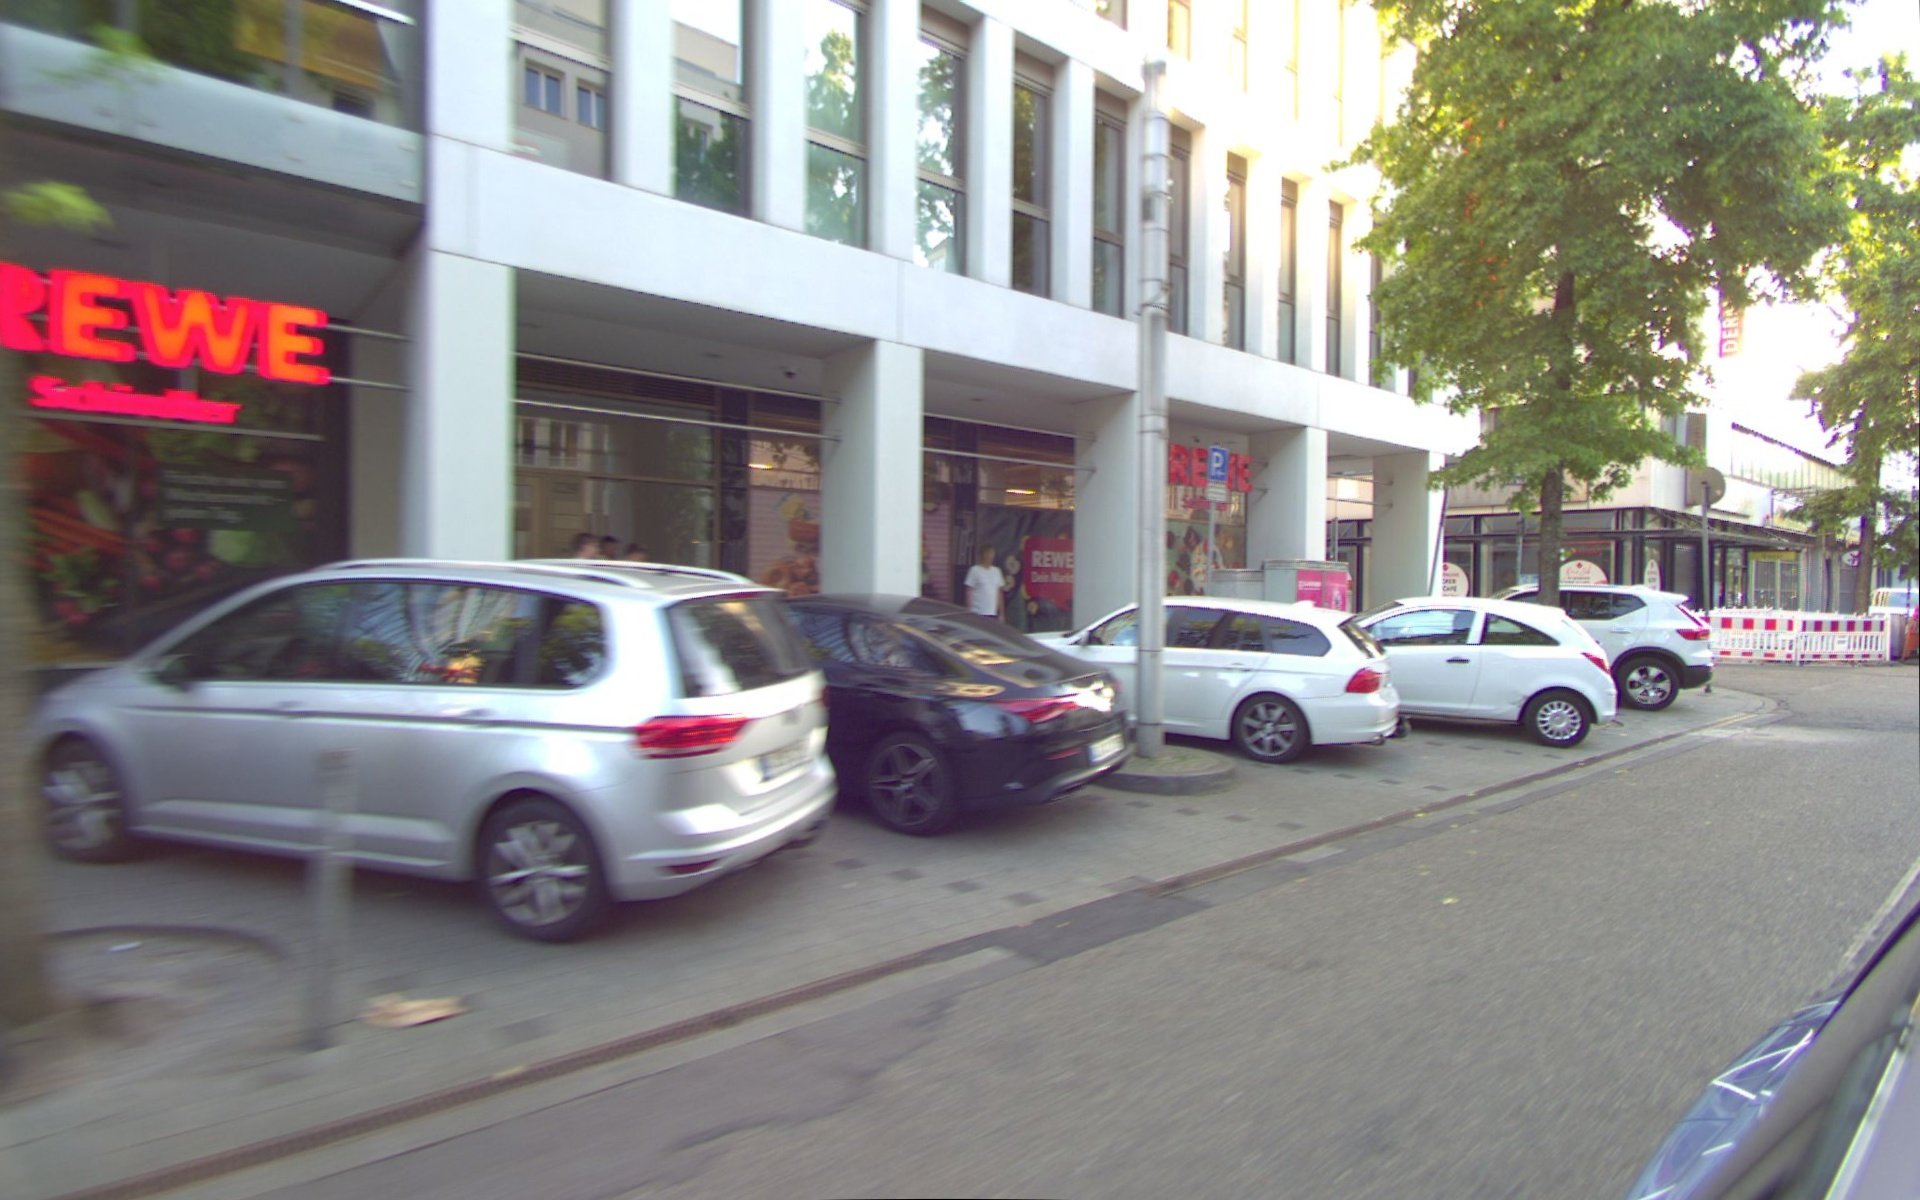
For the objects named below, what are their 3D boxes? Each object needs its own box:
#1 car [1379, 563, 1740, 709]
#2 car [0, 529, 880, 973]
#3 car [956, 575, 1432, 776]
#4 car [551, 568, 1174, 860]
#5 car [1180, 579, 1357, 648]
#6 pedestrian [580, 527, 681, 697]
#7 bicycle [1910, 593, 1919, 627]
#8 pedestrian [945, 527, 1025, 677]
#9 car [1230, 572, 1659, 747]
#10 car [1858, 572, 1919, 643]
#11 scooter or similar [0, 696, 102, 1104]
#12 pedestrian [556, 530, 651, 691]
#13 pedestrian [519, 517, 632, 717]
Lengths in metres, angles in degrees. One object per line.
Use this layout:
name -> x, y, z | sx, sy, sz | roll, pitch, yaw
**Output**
car -> 8.533, 0.399, 14.874 | 4.231, 1.692, 1.935 | 3, 4, 26
car -> -2.952, 0.519, 5.577 | 4.609, 1.660, 1.947 | 3, 3, 16
car -> 2.293, 0.578, 10.173 | 4.312, 1.440, 1.811 | 4, 3, 29
car -> -0.806, 0.585, 7.584 | 4.313, 1.439, 1.936 | 4, 4, 29
car -> 7.985, 0.277, 26.503 | 1.869, 1.632, 4.150 | -1, 2, -37
pedestrian -> -3.493, 0.125, 10.735 | 0.791, 1.721, 0.681 | 2, -1, -40
bicycle -> 35.228, 0.423, 35.829 | 0.746, 1.172, 2.168 | -1, 4, -33
pedestrian -> 0.328, 0.024, 13.472 | 0.669, 1.920, 0.805 | 2, -1, -38
car -> 5.249, 0.544, 11.496 | 4.020, 1.519, 1.784 | 3, 4, 22
car -> 26.698, 0.212, 27.922 | 4.584, 1.792, 2.000 | 0, 3, -38
scooter or similar -> -3.522, 0.895, 3.081 | 1.376, 1.164, 0.579 | 2, 1, 4
pedestrian -> -3.994, 0.118, 11.333 | 0.791, 1.721, 0.681 | 2, -1, -40
pedestrian -> -3.642, 0.151, 9.598 | 0.791, 1.794, 0.681 | 2, -1, -40
